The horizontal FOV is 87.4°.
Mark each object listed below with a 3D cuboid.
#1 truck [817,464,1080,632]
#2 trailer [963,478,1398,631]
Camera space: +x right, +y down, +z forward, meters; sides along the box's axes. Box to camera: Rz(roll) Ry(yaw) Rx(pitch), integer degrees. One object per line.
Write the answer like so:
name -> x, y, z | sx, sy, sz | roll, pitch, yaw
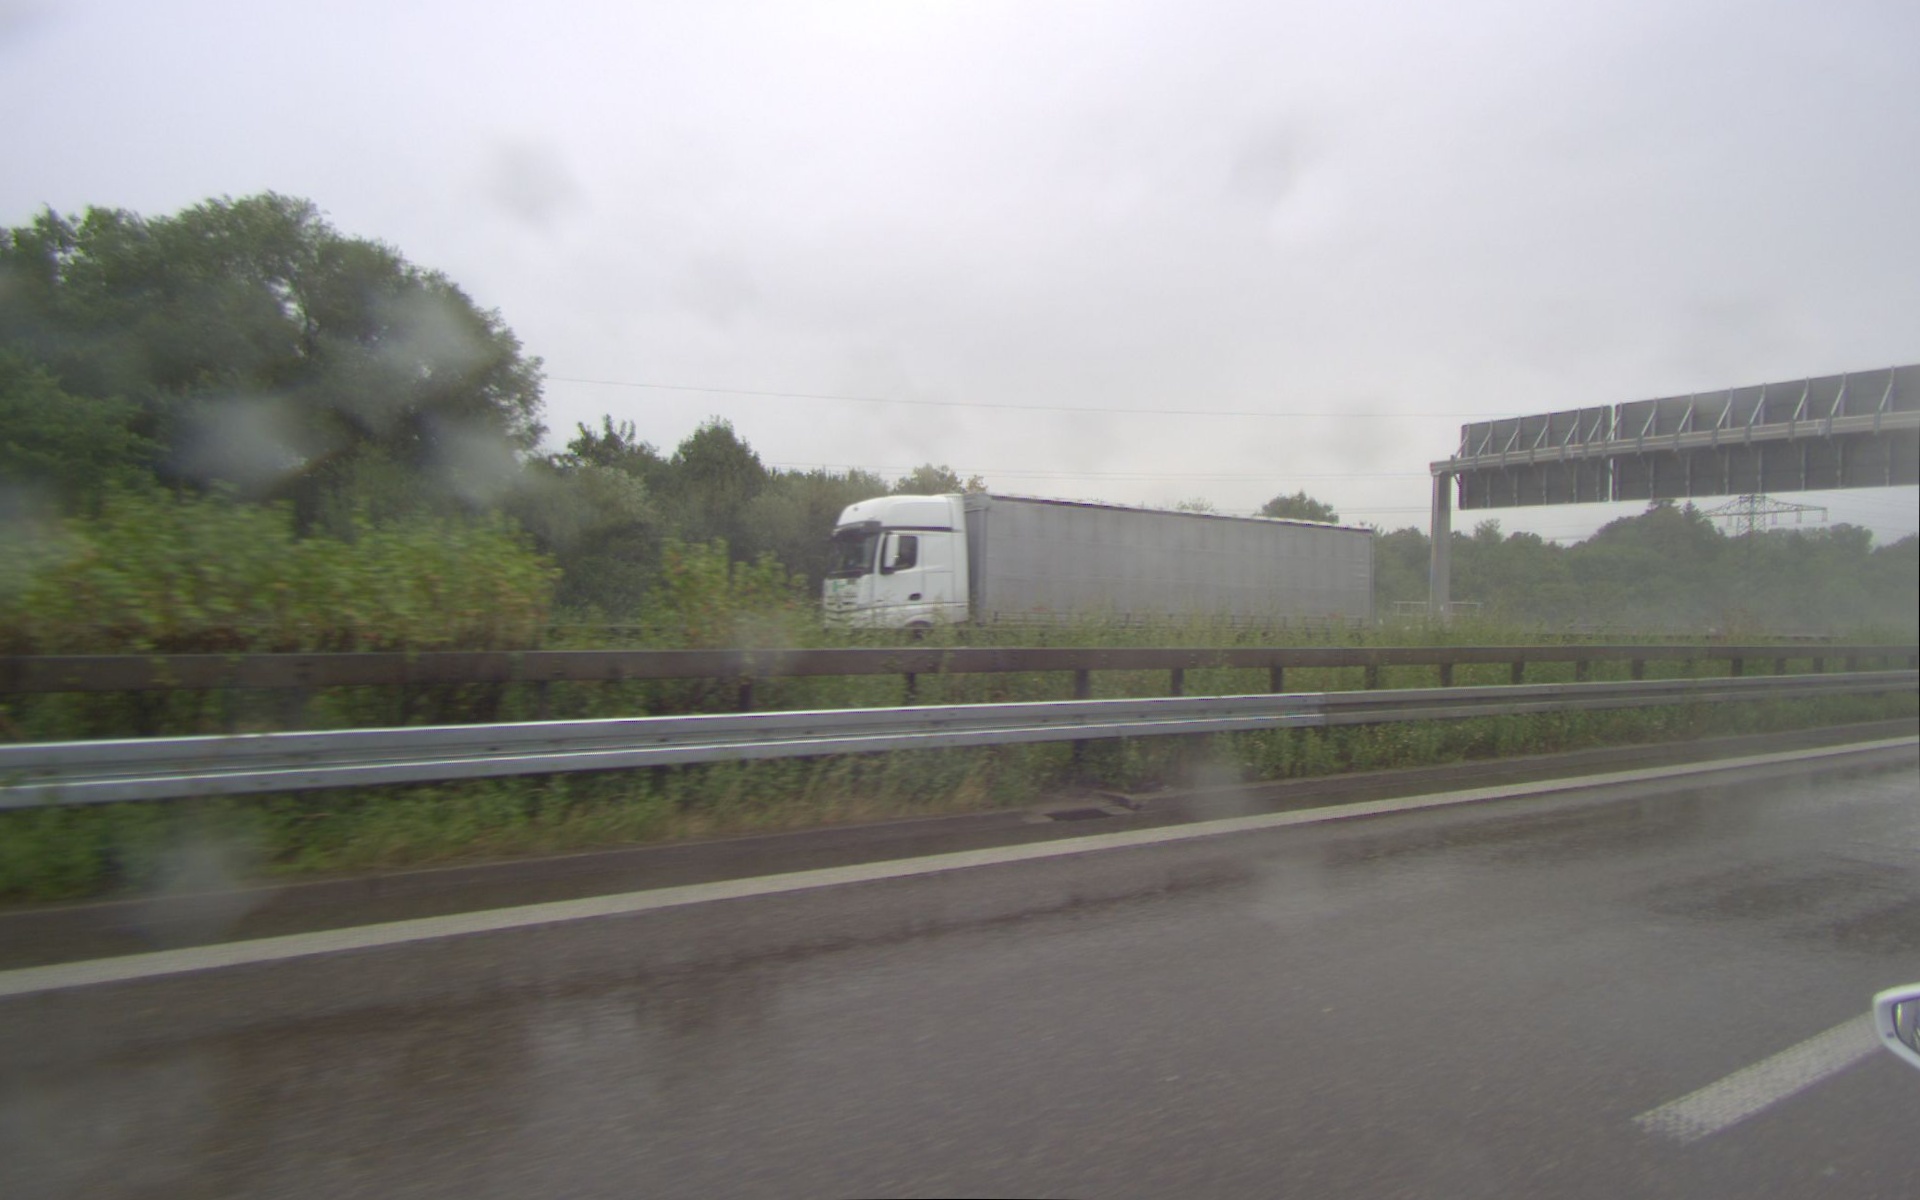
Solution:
truck -> -0.236, -1.077, 23.223 | 5.463, 3.463, 2.653 | 1, 2, -31
trailer -> 6.467, -0.994, 27.248 | 13.291, 3.454, 2.660 | 1, 2, -31
